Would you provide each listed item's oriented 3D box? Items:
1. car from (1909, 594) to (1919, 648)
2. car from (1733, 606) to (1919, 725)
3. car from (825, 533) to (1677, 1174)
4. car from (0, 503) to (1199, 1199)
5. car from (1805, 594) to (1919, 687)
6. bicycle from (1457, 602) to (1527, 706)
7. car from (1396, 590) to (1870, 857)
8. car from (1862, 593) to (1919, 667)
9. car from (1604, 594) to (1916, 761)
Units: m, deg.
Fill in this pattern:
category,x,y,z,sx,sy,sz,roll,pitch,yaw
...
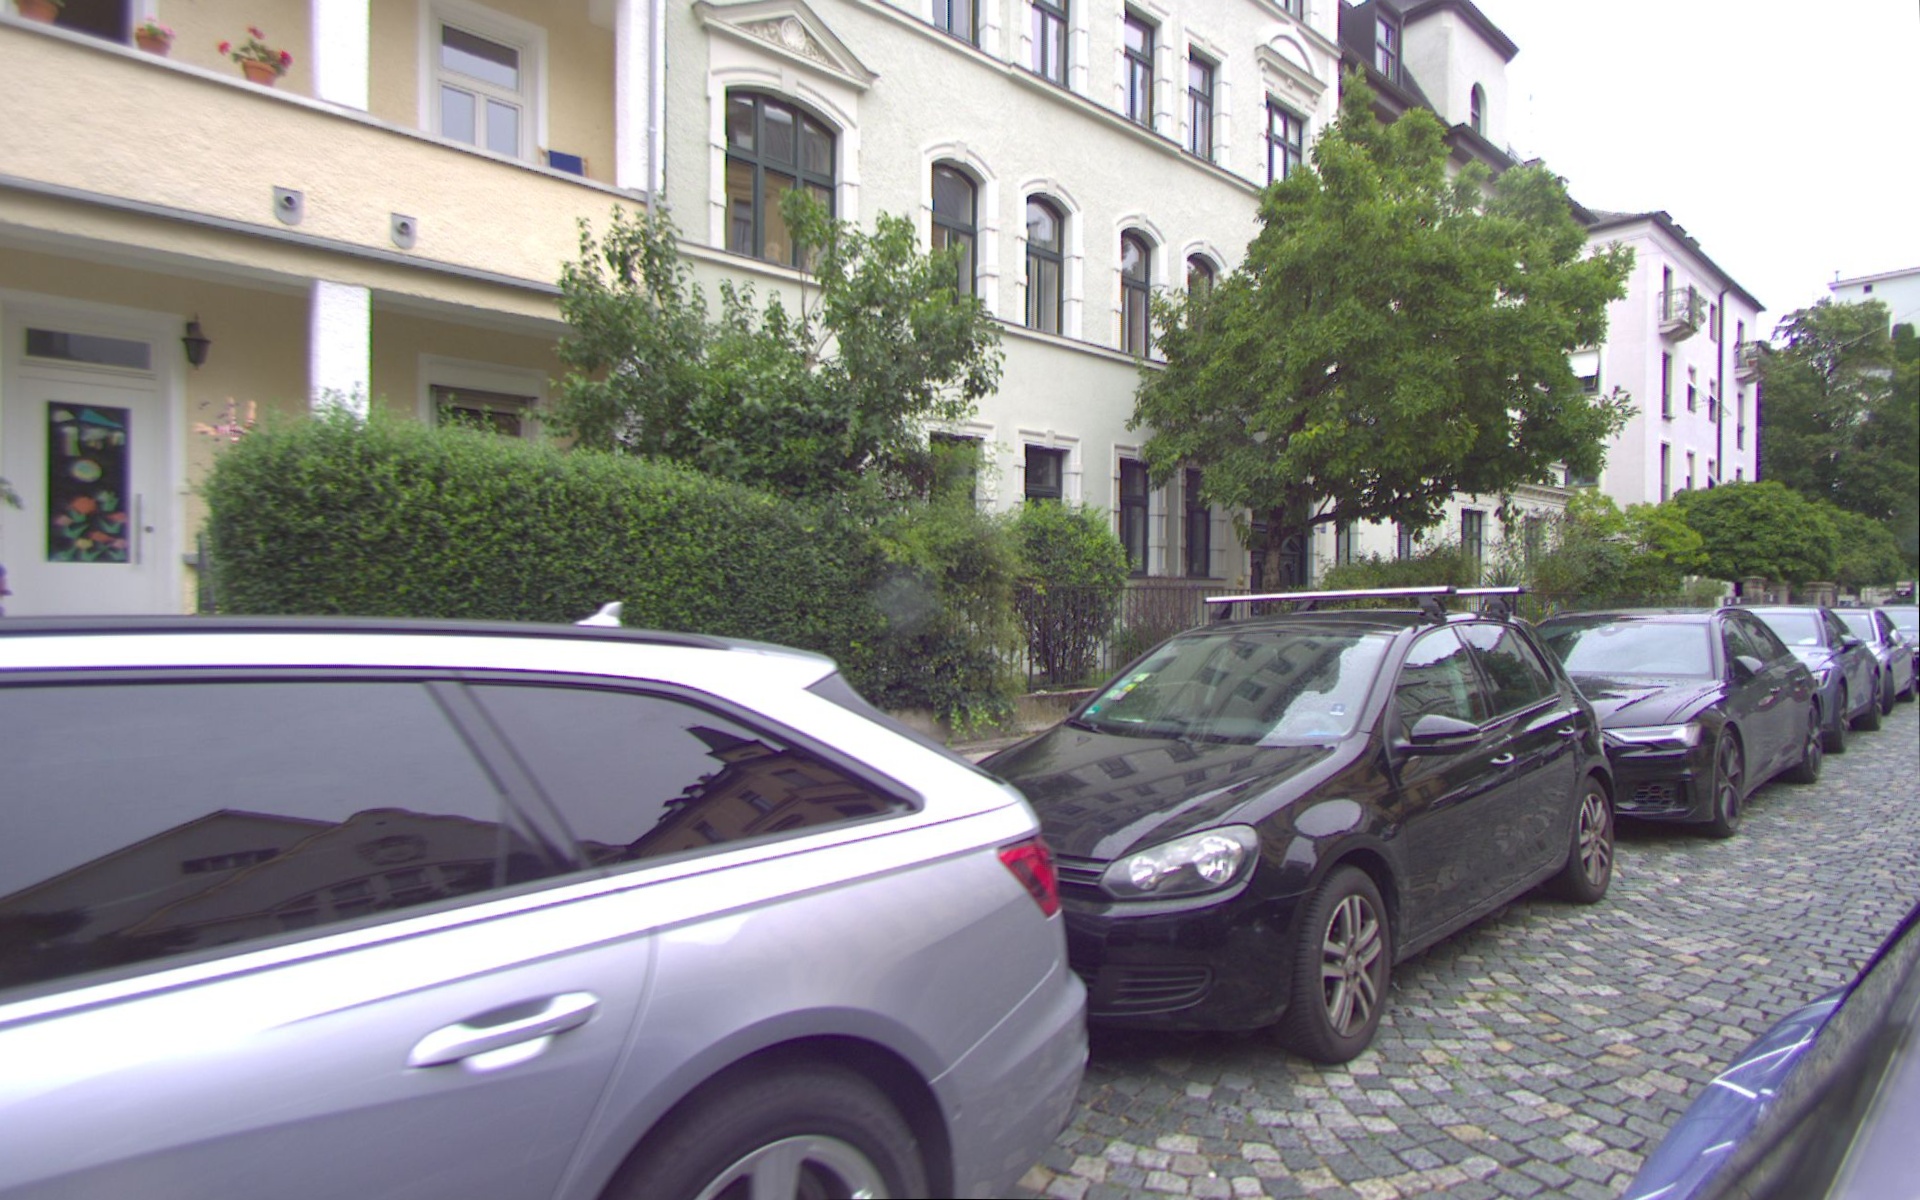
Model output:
category,x,y,z,sx,sy,sz,roll,pitch,yaw
car,28.564,0.556,28.591,4.450,1.484,1.941,0,-1,-39
car,13.104,0.865,14.961,4.402,1.478,1.758,0,-2,-41
car,1.655,0.661,4.781,4.220,1.675,1.896,0,-1,-42
car,-1.957,0.706,1.531,4.898,1.572,1.997,0,-1,-40
car,17.319,0.663,18.588,5.016,1.522,1.907,0,-2,-41
bicycle,6.669,0.633,12.651,0.578,1.210,1.628,-1,0,34
car,5.573,0.719,8.065,4.961,1.508,1.821,0,-2,-41
car,21.127,0.607,22.117,3.622,1.528,1.669,0,-2,-42
car,9.248,0.730,11.545,4.729,1.508,1.885,0,-2,-41
